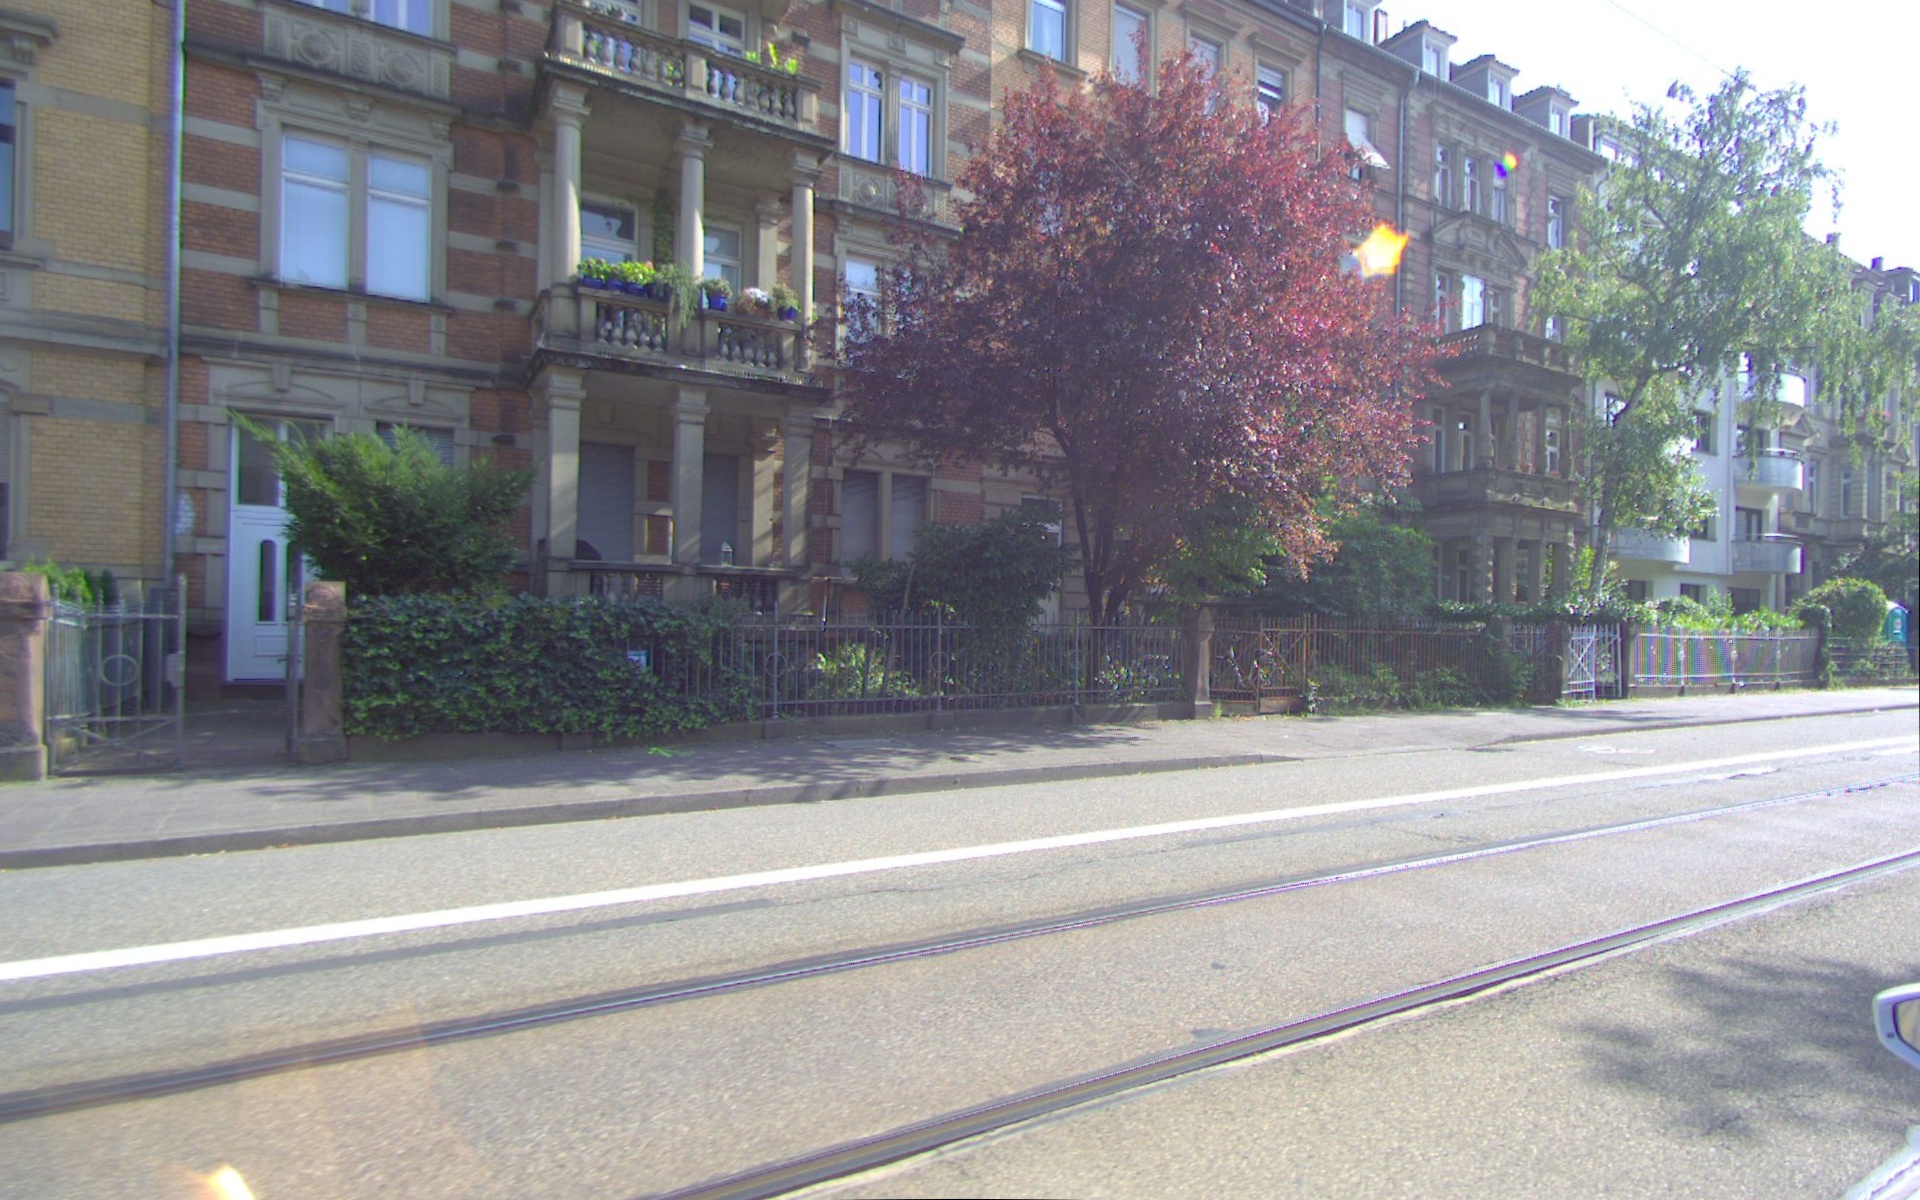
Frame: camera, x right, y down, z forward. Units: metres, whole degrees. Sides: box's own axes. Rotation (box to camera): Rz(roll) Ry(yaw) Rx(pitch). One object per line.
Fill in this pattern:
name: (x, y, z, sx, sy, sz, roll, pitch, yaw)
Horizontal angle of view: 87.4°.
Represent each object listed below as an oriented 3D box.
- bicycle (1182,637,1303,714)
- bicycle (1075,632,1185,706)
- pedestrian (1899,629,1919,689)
bicycle: (4.555, 1.191, 16.340, 0.582, 1.118, 2.004, 2, -1, -33)
bicycle: (2.787, 1.113, 16.457, 1.723, 1.118, 0.589, 1, -1, 11)
pedestrian: (26.563, 1.627, 27.689, 0.868, 1.612, 0.749, 2, -1, -30)
